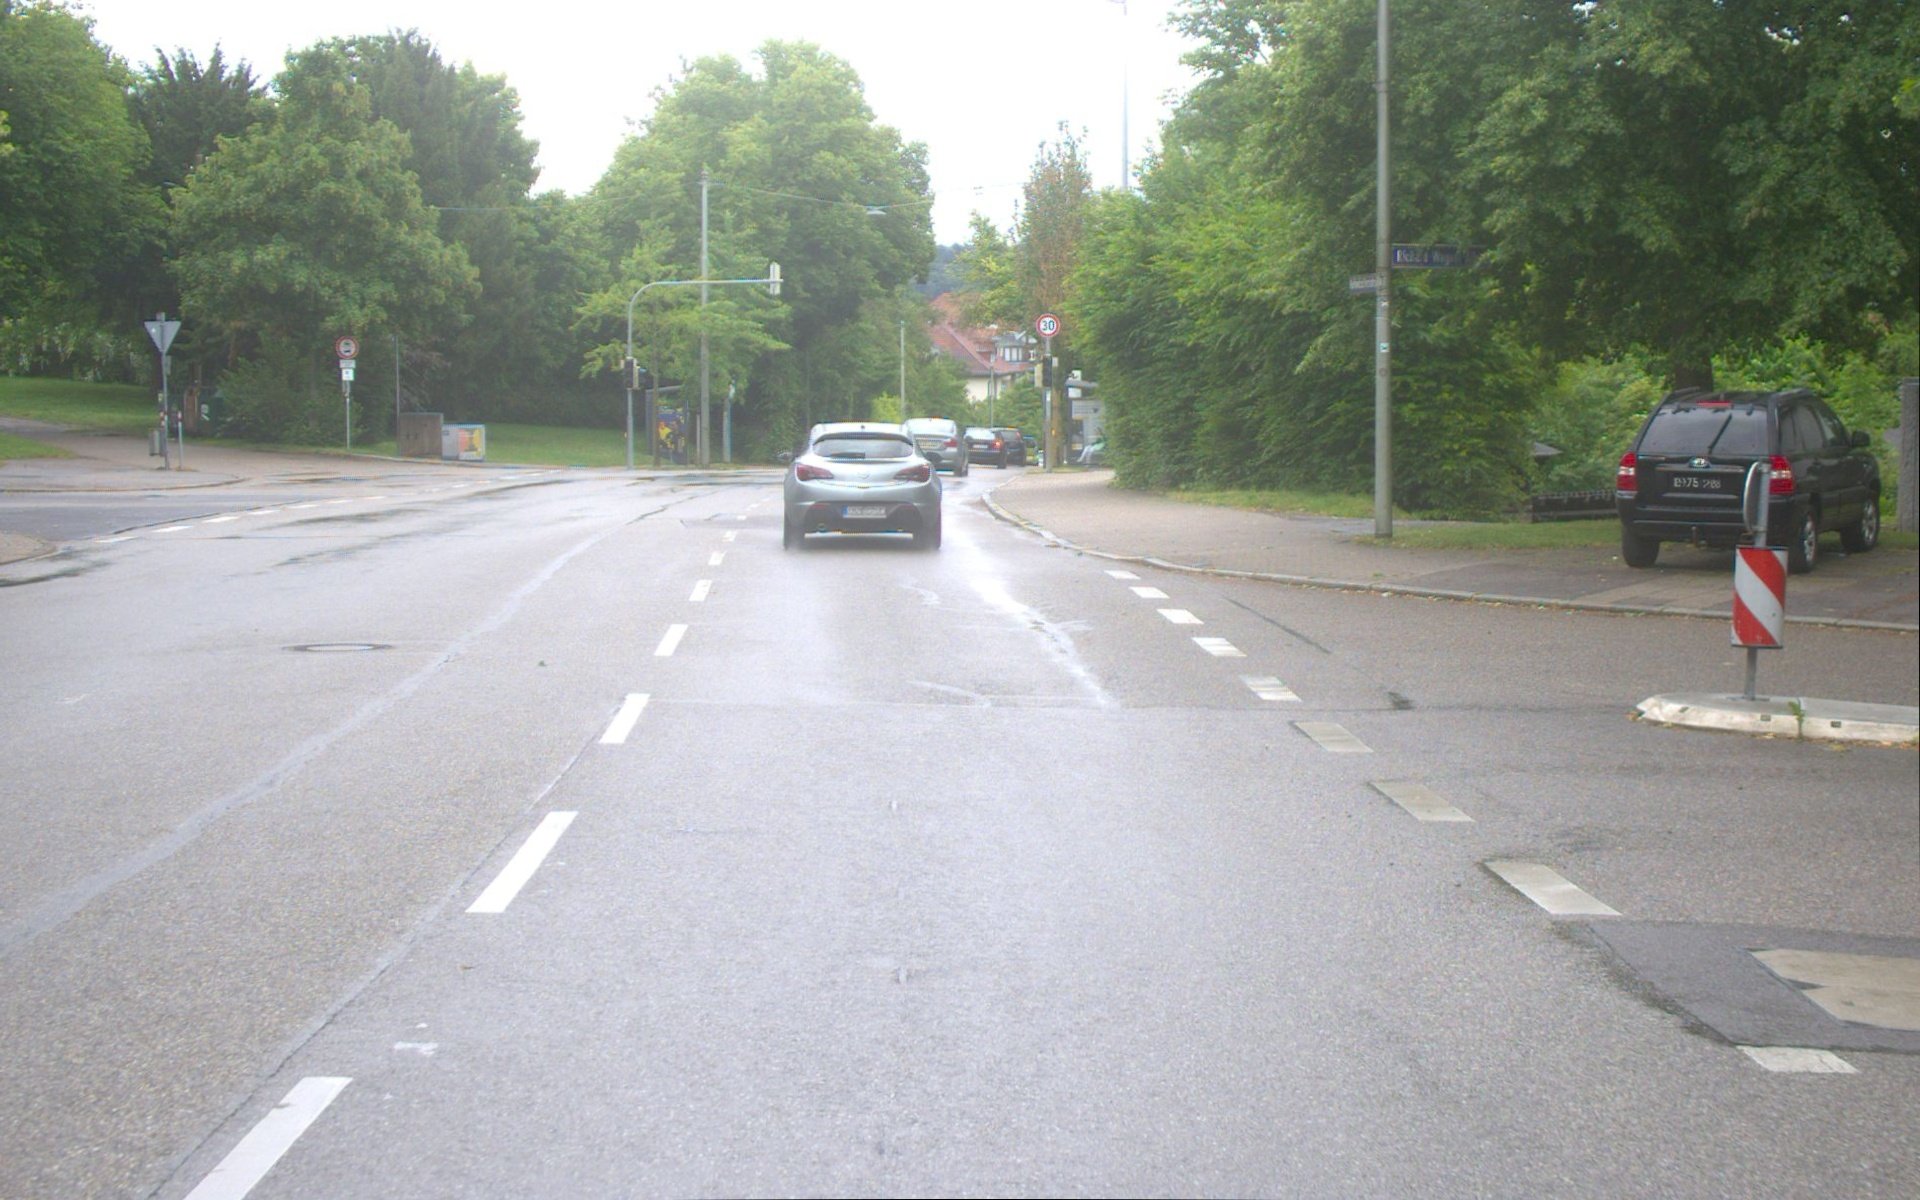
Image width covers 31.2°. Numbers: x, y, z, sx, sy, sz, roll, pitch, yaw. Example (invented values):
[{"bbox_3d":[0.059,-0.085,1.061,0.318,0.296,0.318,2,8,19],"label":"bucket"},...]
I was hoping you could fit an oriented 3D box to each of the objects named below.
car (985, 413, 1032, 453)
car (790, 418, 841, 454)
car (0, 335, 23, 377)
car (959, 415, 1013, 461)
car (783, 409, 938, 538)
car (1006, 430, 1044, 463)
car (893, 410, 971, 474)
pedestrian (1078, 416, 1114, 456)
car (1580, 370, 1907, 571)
[{"bbox_3d":[1.928,-6.586,135.487,1.721,1.459,4.001,4,3,1],"label":"car"},{"bbox_3d":[-5.799,-6.633,138.747,1.661,1.302,4.084,-1,4,3],"label":"car"},{"bbox_3d":[-36.044,-8.884,124.552,3.895,1.481,1.936,0,3,-20],"label":"car"},{"bbox_3d":[0.914,-5.644,119.806,1.721,1.459,4.001,4,3,1],"label":"car"},{"bbox_3d":[-1.161,-1.515,40.862,1.754,1.459,4.001,0,2,-1],"label":"car"},{"bbox_3d":[3.171,-7.458,166.570,1.721,1.459,4.001,4,3,1],"label":"car"},{"bbox_3d":[-0.665,-3.932,85.498,1.721,1.459,4.001,4,3,1],"label":"car"},{"bbox_3d":[4.540,-5.481,114.901,1.074,1.351,0.918,0,3,10],"label":"pedestrian"},{"bbox_3d":[7.869,-1.362,34.192,1.950,1.683,4.897,4,6,27],"label":"car"}]
